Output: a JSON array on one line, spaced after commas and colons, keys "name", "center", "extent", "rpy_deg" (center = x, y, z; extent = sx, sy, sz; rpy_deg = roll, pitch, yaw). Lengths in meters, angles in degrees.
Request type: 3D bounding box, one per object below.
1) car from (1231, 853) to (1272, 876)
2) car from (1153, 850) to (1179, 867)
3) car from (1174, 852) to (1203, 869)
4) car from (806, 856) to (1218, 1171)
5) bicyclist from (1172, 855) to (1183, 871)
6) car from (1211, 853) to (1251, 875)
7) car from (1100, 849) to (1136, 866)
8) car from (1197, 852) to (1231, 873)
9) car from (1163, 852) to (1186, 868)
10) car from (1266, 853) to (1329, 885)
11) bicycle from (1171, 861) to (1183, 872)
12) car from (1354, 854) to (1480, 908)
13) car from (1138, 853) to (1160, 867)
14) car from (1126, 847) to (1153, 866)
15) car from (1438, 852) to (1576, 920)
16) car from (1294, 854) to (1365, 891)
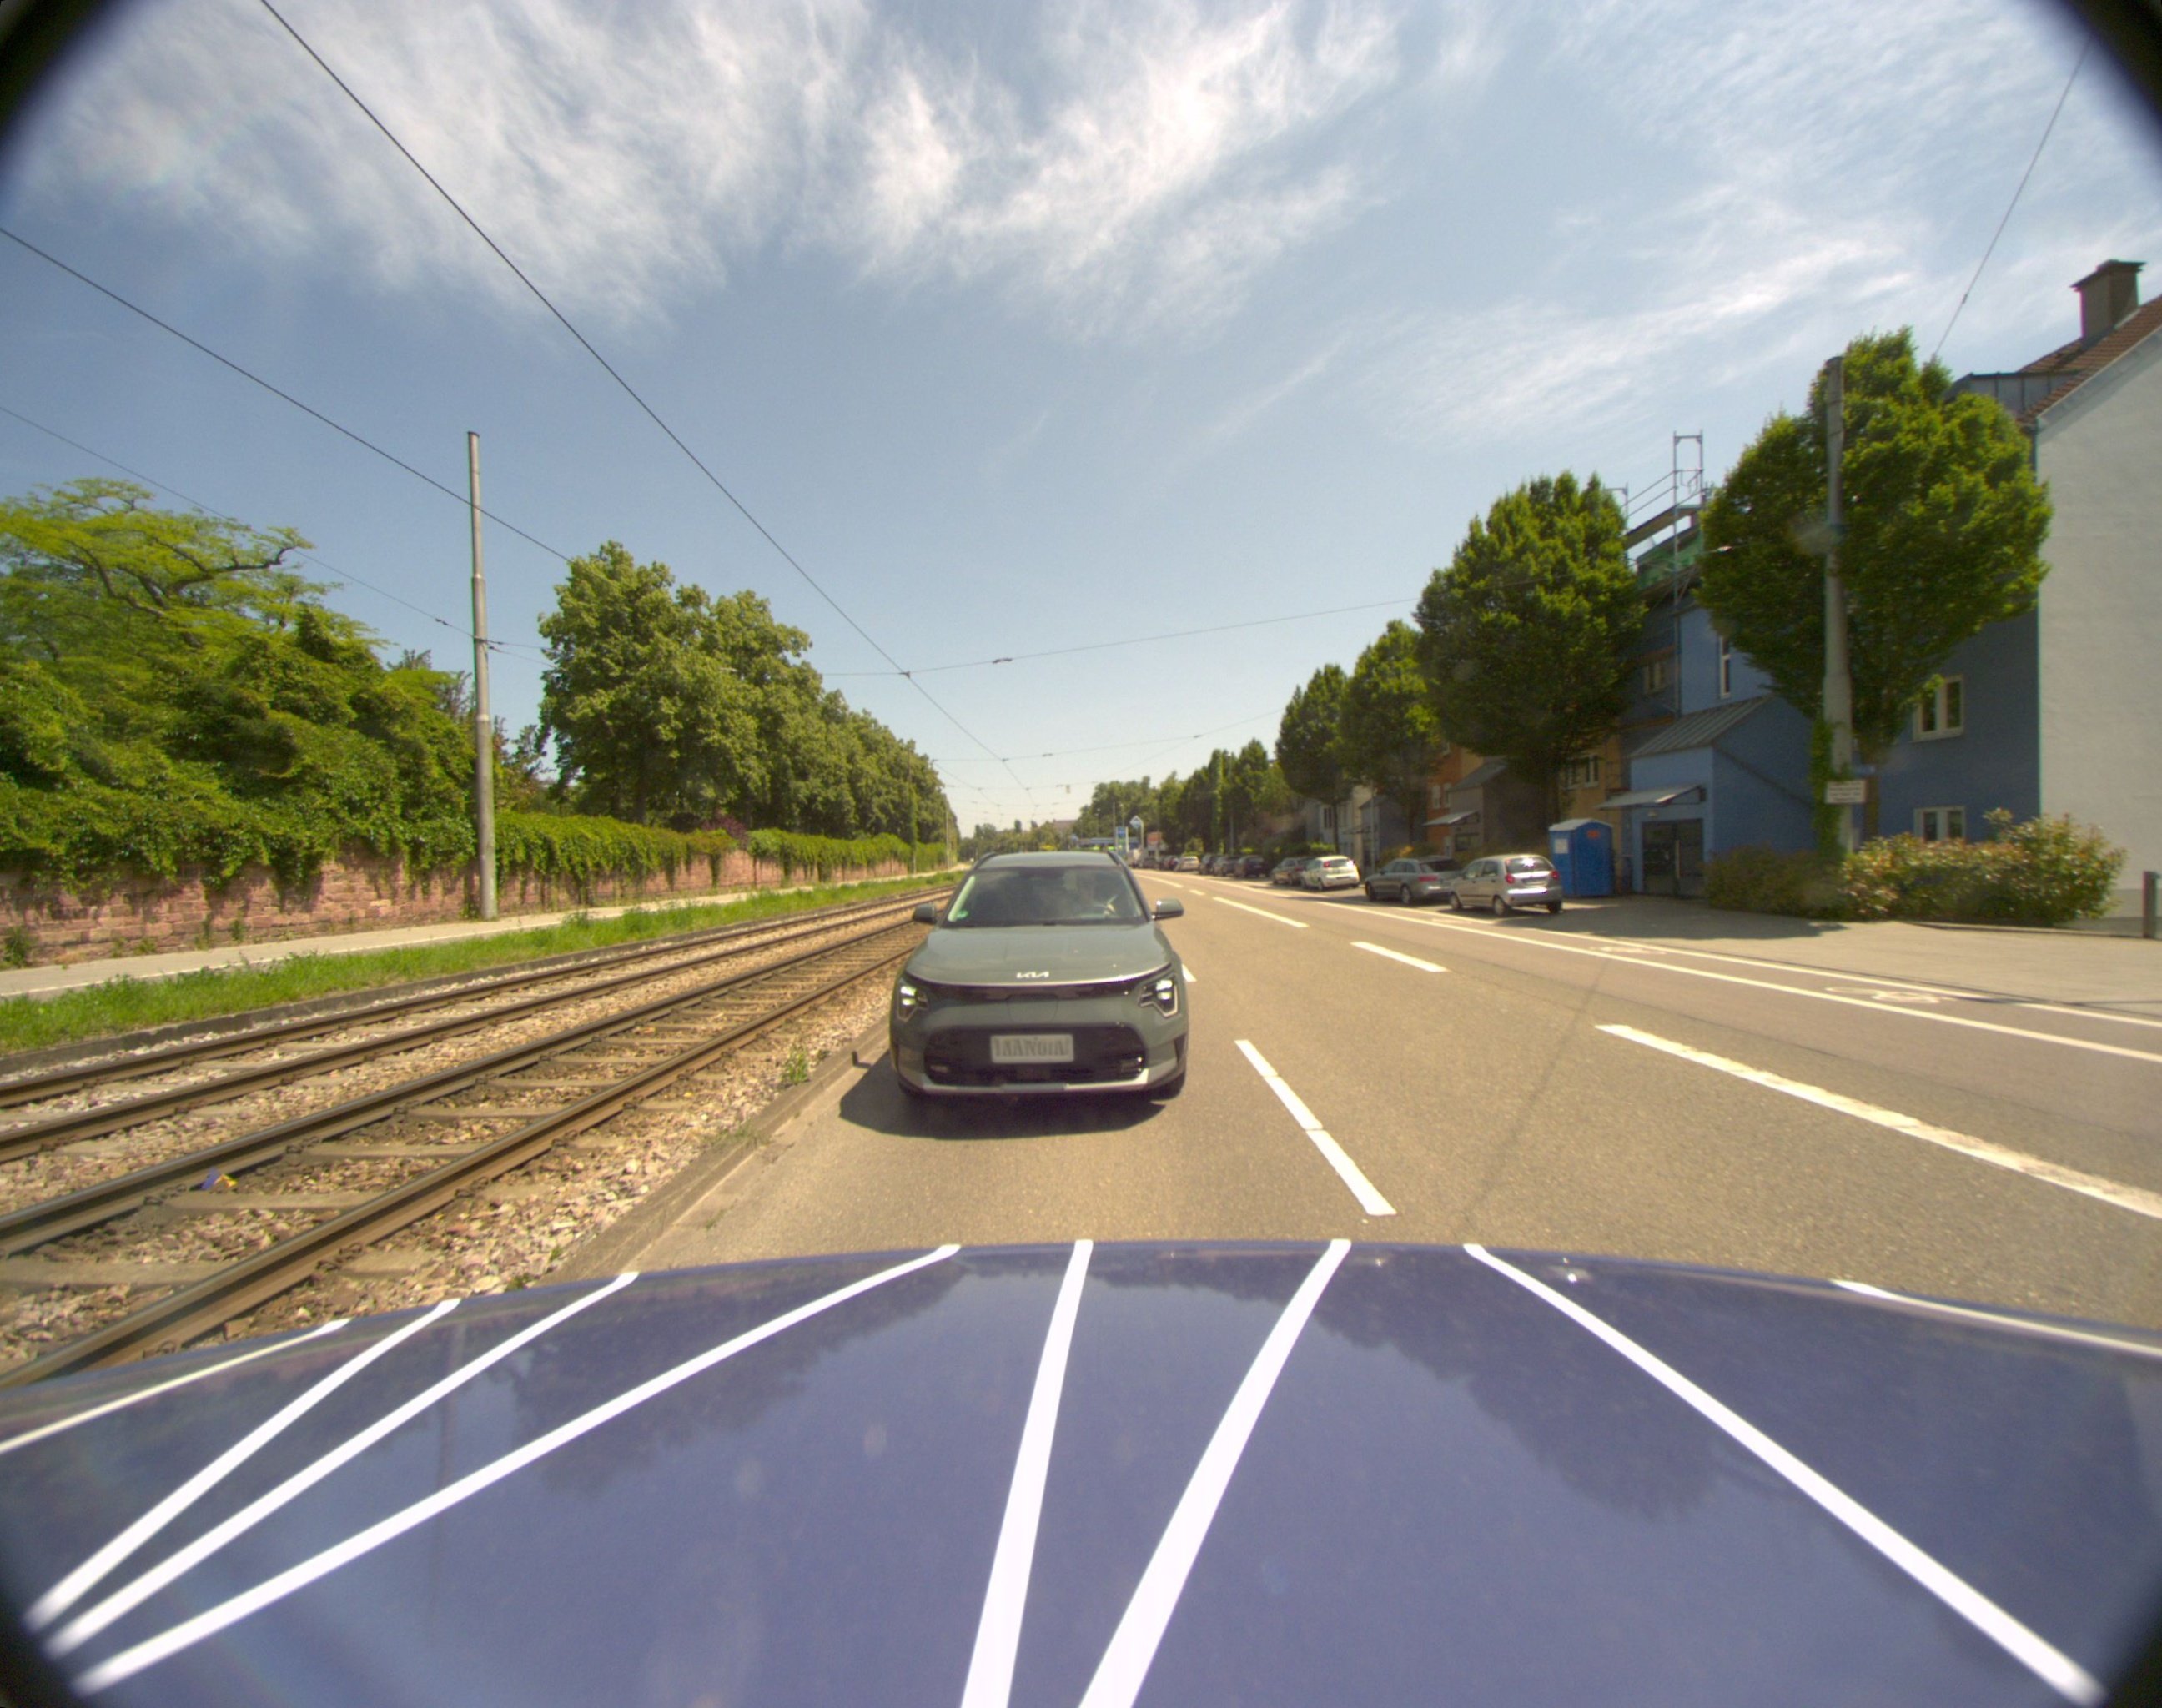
[{"name": "car", "center": [11.516, 0.693, 51.668], "extent": [1.754, 1.424, 4.257], "rpy_deg": [-4, 0, 0]}, {"name": "car", "center": [9.509, 0.491, 85.200], "extent": [1.999, 1.783, 4.556], "rpy_deg": [-2, 0, -5]}, {"name": "car", "center": [10.448, 0.634, 74.100], "extent": [1.845, 1.573, 4.495], "rpy_deg": [-3, 0, -2]}, {"name": "car", "center": [-0.261, 0.844, 5.949], "extent": [2.062, 1.534, 4.001], "rpy_deg": [-3, 0, 3]}, {"name": "bicyclist", "center": [8.422, 0.790, 66.666], "extent": [0.737, 1.422, 1.124], "rpy_deg": [2, 1, -2]}, {"name": "car", "center": [11.187, 0.696, 56.958], "extent": [1.830, 1.487, 4.756], "rpy_deg": [-3, 0, -1]}, {"name": "car", "center": [5.928, 0.532, 121.401], "extent": [5.219, 2.294, 2.288], "rpy_deg": [-3, 0, 16]}, {"name": "car", "center": [10.928, 0.665, 62.778], "extent": [1.772, 1.579, 4.147], "rpy_deg": [-3, 0, -3]}, {"name": "car", "center": [9.839, 0.664, 79.992], "extent": [1.604, 1.584, 3.680], "rpy_deg": [-3, 0, -6]}, {"name": "car", "center": [11.442, 0.754, 40.551], "extent": [1.708, 1.421, 4.750], "rpy_deg": [-6, 0, -3]}, {"name": "bicycle", "center": [8.415, 1.066, 66.764], "extent": [0.703, 0.945, 2.243], "rpy_deg": [1, -1, -2]}, {"name": "car", "center": [10.974, 0.829, 25.298], "extent": [1.791, 1.441, 5.133], "rpy_deg": [-5, -1, 0]}, {"name": "car", "center": [8.403, 0.734, 94.171], "extent": [1.870, 1.528, 4.142], "rpy_deg": [-3, 0, -4]}, {"name": "car", "center": [7.657, 0.347, 100.133], "extent": [2.285, 2.294, 5.226], "rpy_deg": [-3, 0, -8]}, {"name": "car", "center": [11.039, 0.772, 19.955], "extent": [1.597, 1.487, 3.448], "rpy_deg": [-6, 0, 1]}, {"name": "car", "center": [11.389, 0.811, 35.159], "extent": [1.750, 1.434, 4.420], "rpy_deg": [-6, 0, 0]}]
